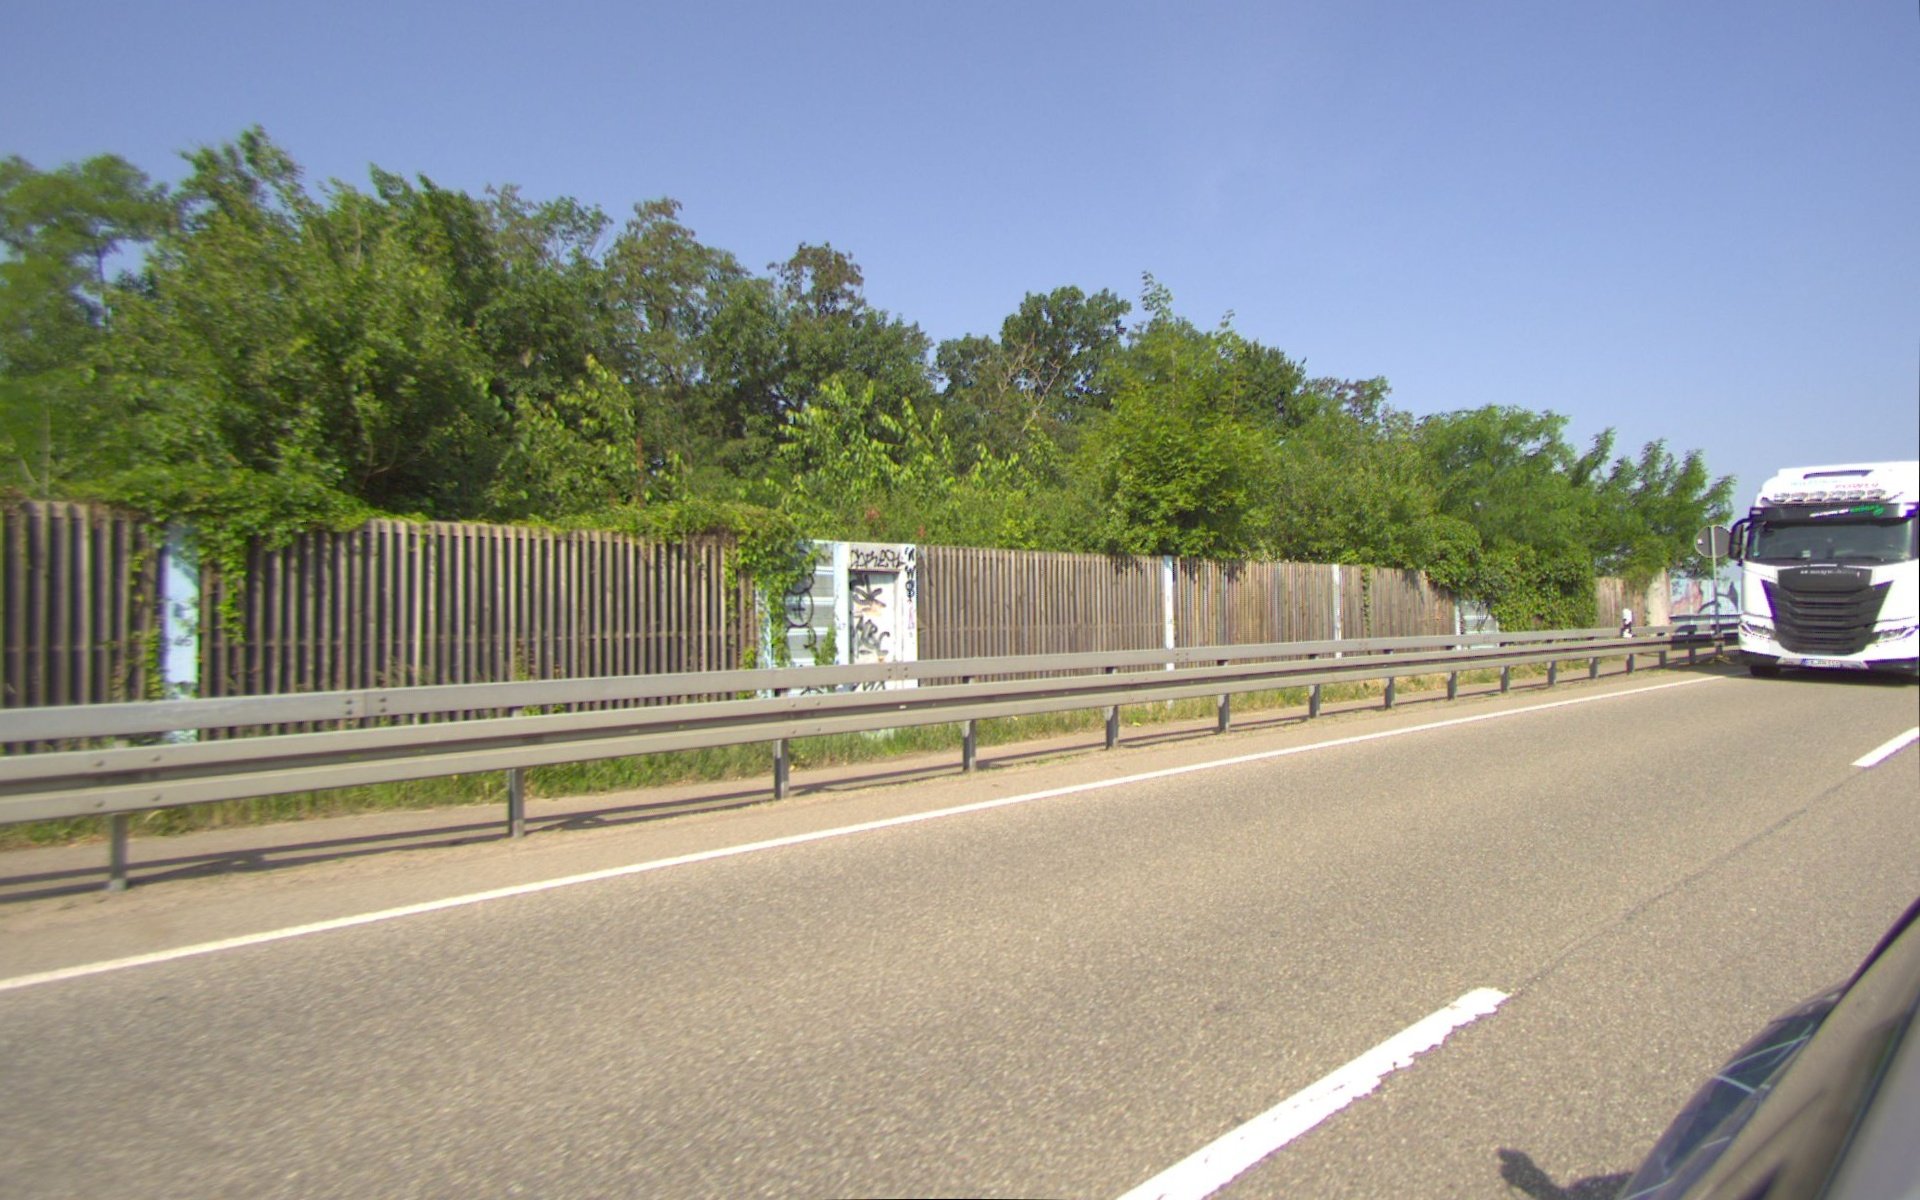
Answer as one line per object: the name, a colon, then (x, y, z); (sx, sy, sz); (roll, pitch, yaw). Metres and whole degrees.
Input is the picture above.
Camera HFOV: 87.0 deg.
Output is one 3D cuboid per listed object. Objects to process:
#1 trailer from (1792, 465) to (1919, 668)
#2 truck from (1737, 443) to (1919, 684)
trailer: (21.917, -0.638, 23.169); (9.499, 3.956, 2.685); (0, 0, -40)
truck: (17.174, -0.624, 19.209); (5.546, 3.945, 2.664); (0, 0, -39)
